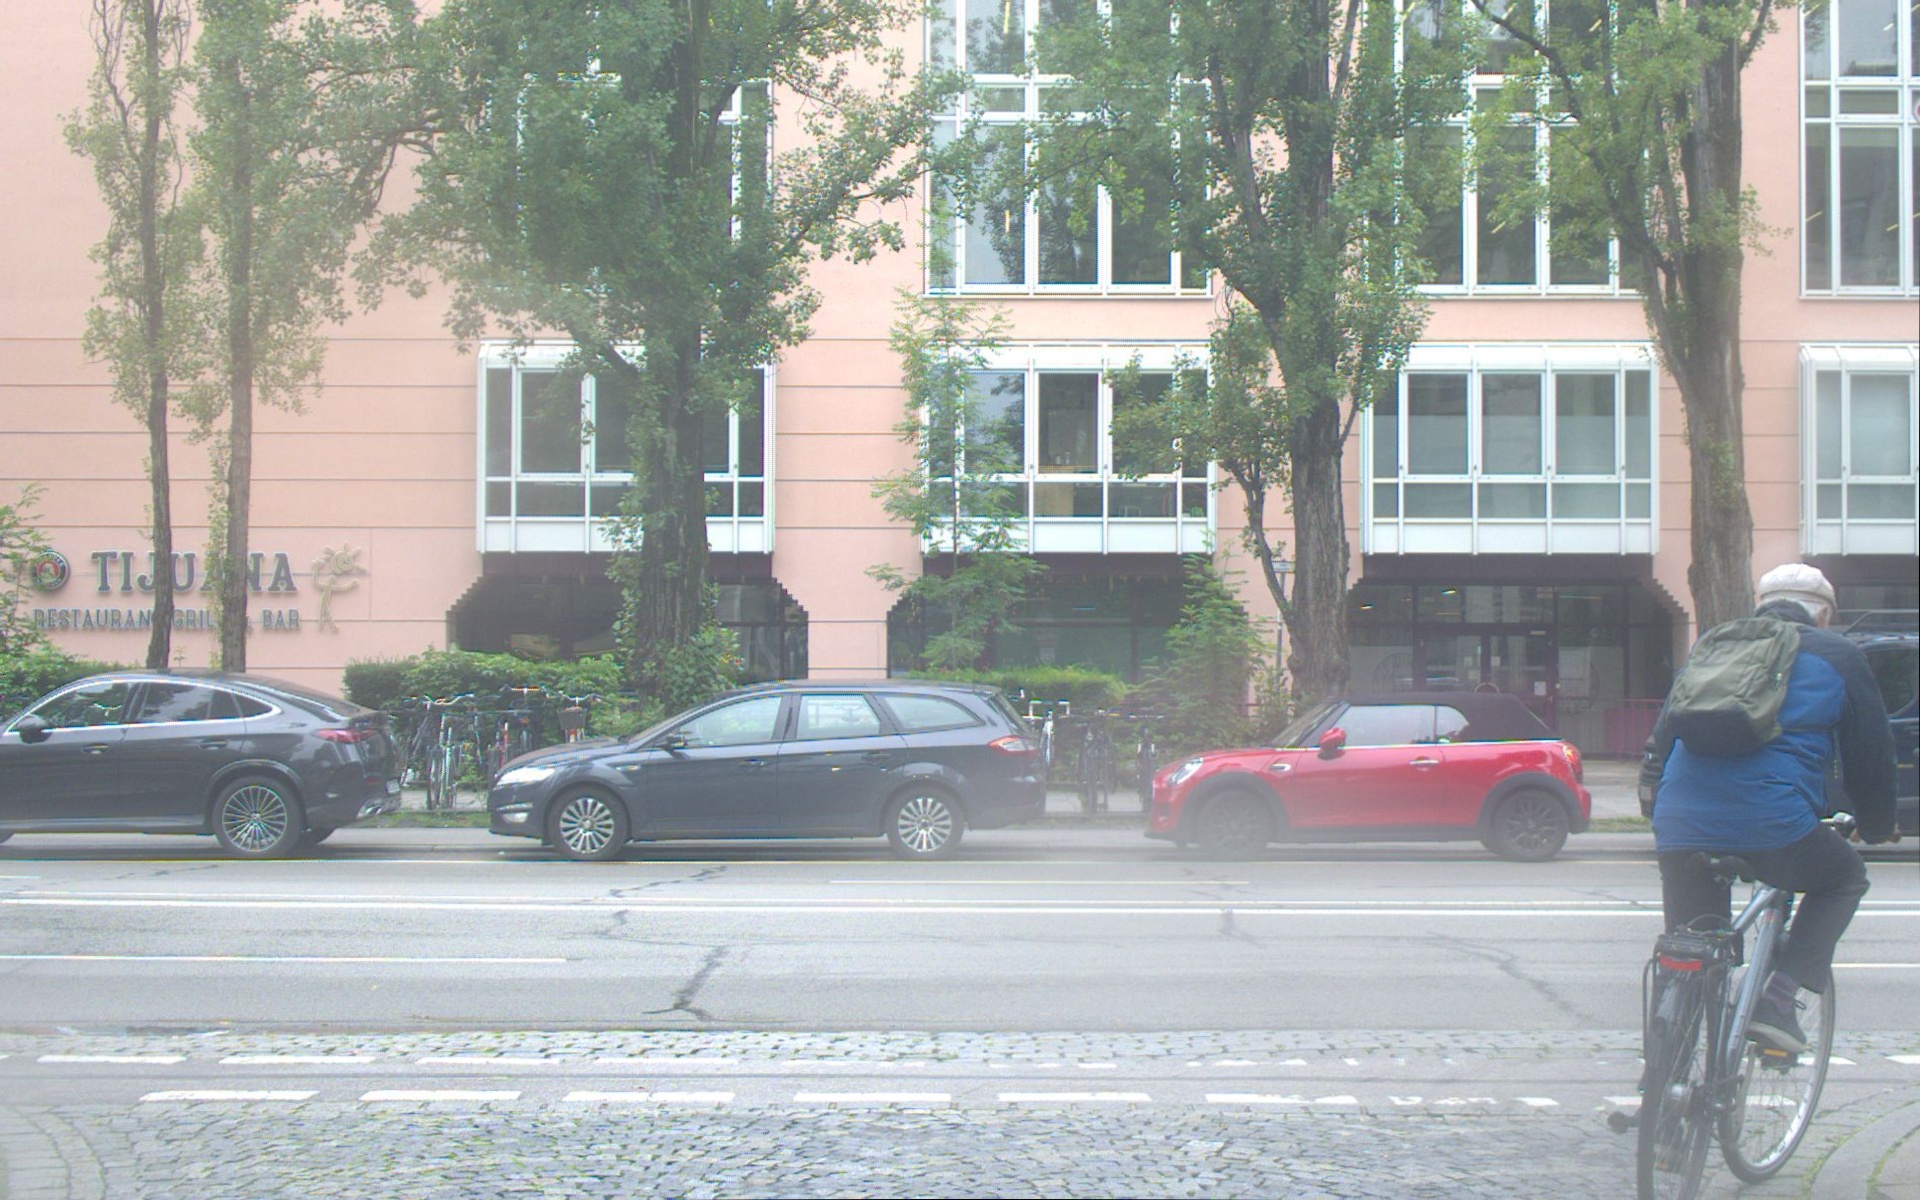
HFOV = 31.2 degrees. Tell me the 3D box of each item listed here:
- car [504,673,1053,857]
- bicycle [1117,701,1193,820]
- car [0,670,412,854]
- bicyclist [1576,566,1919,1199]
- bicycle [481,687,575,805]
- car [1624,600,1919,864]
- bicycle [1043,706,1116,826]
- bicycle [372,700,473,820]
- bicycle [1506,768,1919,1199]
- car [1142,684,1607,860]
[{"bbox_3d":[-1.521,1.406,29.788,4.608,1.524,1.793,0,-1,0],"label":"car"},{"bbox_3d":[1.915,1.570,33.925,0.674,1.120,1.741,0,-1,1],"label":"bicycle"},{"bbox_3d":[-7.143,1.377,29.768,4.499,1.524,1.793,0,-1,0],"label":"car"},{"bbox_3d":[2.056,0.728,8.932,0.723,1.614,0.755,0,-1,26],"label":"bicyclist"},{"bbox_3d":[-4.288,1.437,34.246,0.674,1.120,1.989,0,-1,1],"label":"bicycle"},{"bbox_3d":[8.663,1.121,29.642,5.479,2.190,2.023,0,-1,0],"label":"car"},{"bbox_3d":[1.168,1.620,33.899,0.674,1.120,1.741,0,-1,1],"label":"bicycle"},{"bbox_3d":[-5.290,1.563,33.931,0.674,1.120,1.989,0,-1,1],"label":"bicycle"},{"bbox_3d":[2.032,1.038,9.075,0.717,1.144,1.898,0,-2,23],"label":"bicycle"},{"bbox_3d":[3.501,1.455,29.567,3.861,1.444,1.678,0,-1,3],"label":"car"}]
